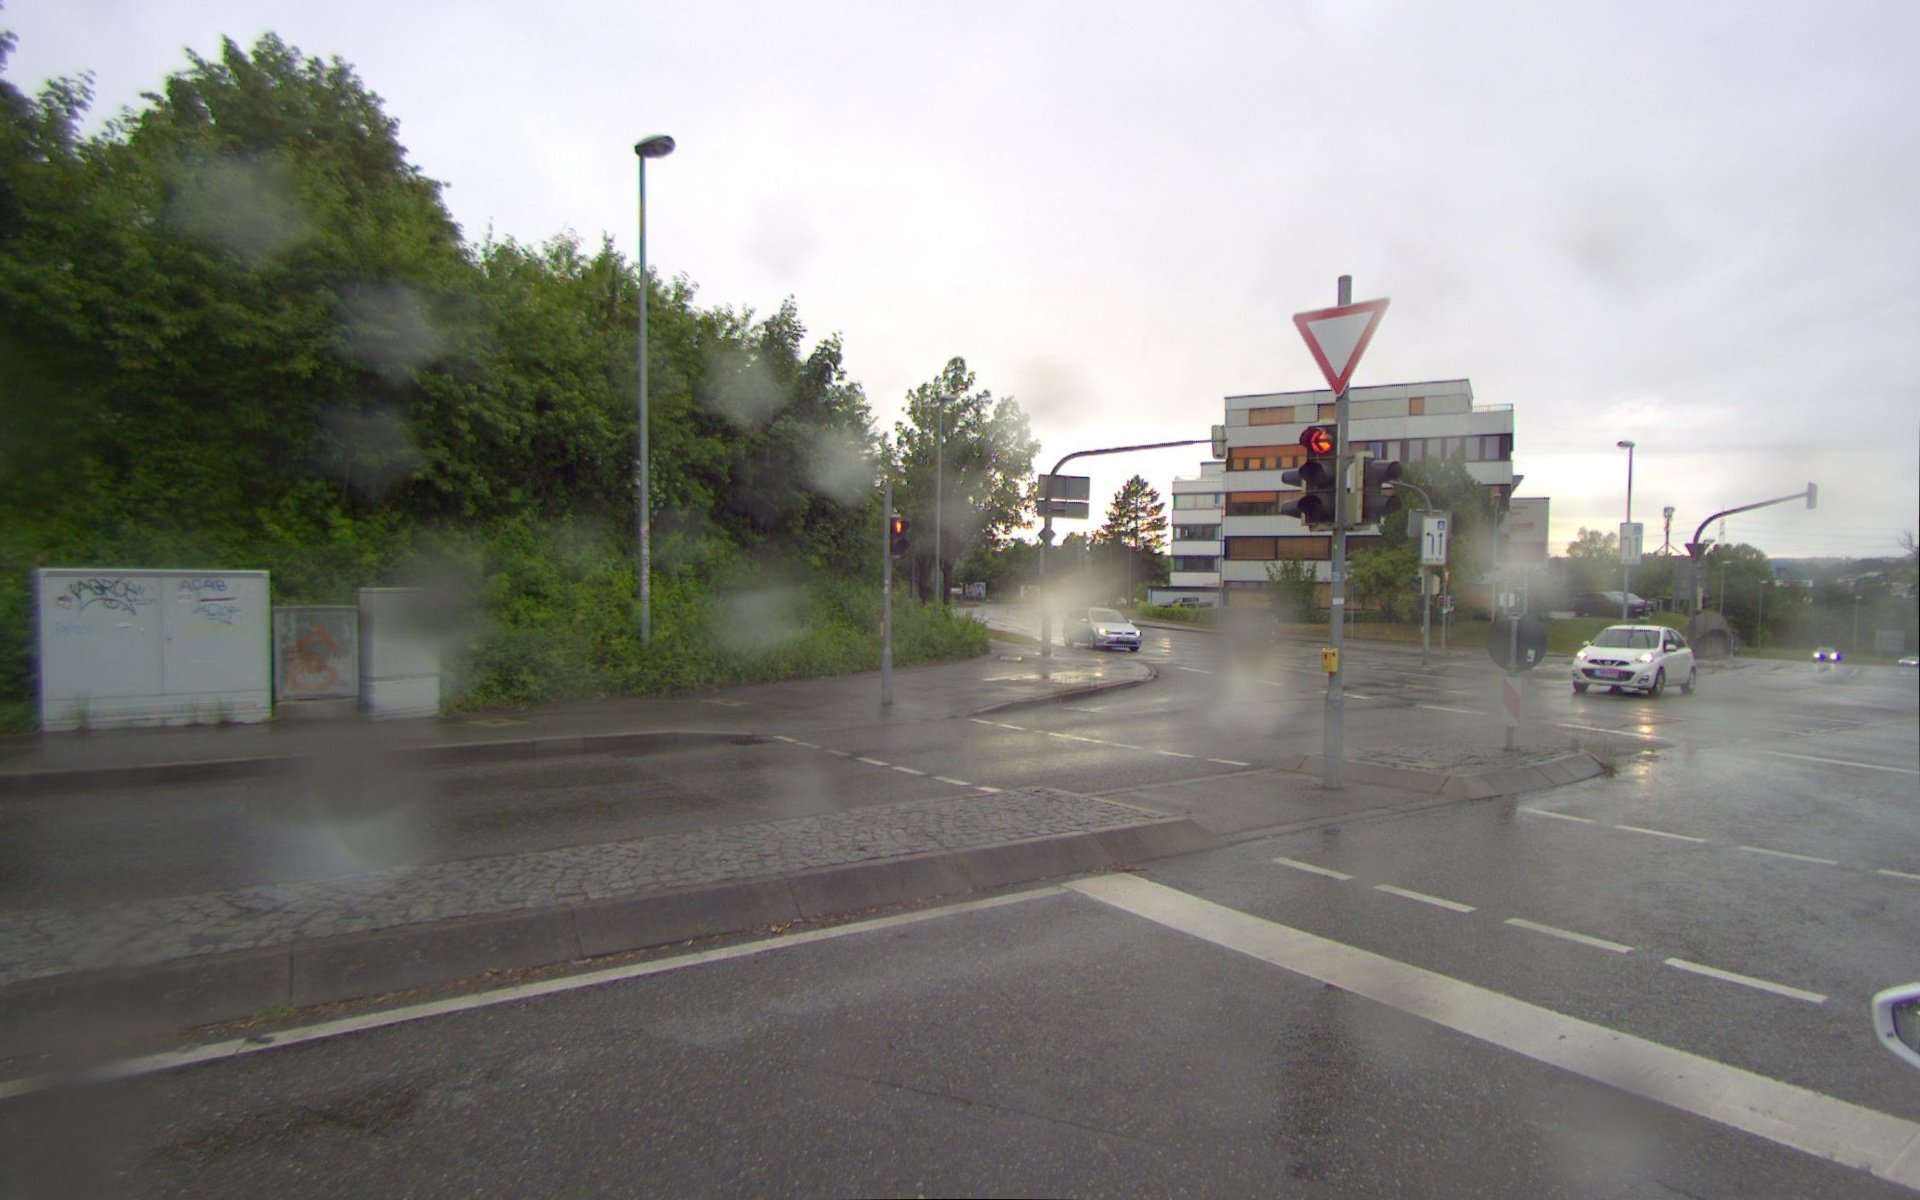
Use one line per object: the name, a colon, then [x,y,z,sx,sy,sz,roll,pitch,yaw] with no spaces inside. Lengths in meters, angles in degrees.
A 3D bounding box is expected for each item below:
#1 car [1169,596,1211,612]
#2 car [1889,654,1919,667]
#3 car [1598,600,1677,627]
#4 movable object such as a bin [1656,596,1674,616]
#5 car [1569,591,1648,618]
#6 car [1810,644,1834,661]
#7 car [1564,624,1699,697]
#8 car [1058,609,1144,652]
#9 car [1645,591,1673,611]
car: [22.066,0.382,96.273,3.686,1.418,2.000,1,1,19]
car: [116.665,7.447,124.087,3.952,1.514,1.712,2,0,-30]
car: [44.951,0.866,66.745,1.872,1.607,3.985,4,0,-17]
movable object such as a bin: [55.730,0.477,79.397,1.069,1.456,1.443,3,0,34]
car: [42.441,0.284,65.818,1.874,1.607,3.980,4,0,-21]
car: [82.447,5.007,96.096,1.641,1.514,3.982,2,-1,40]
car: [15.397,1.316,22.975,3.791,1.525,1.607,1,-1,-40]
car: [5.032,1.058,36.526,1.731,1.381,4.523,2,0,-11]
car: [60.815,0.079,87.409,1.802,1.461,3.990,3,0,33]
